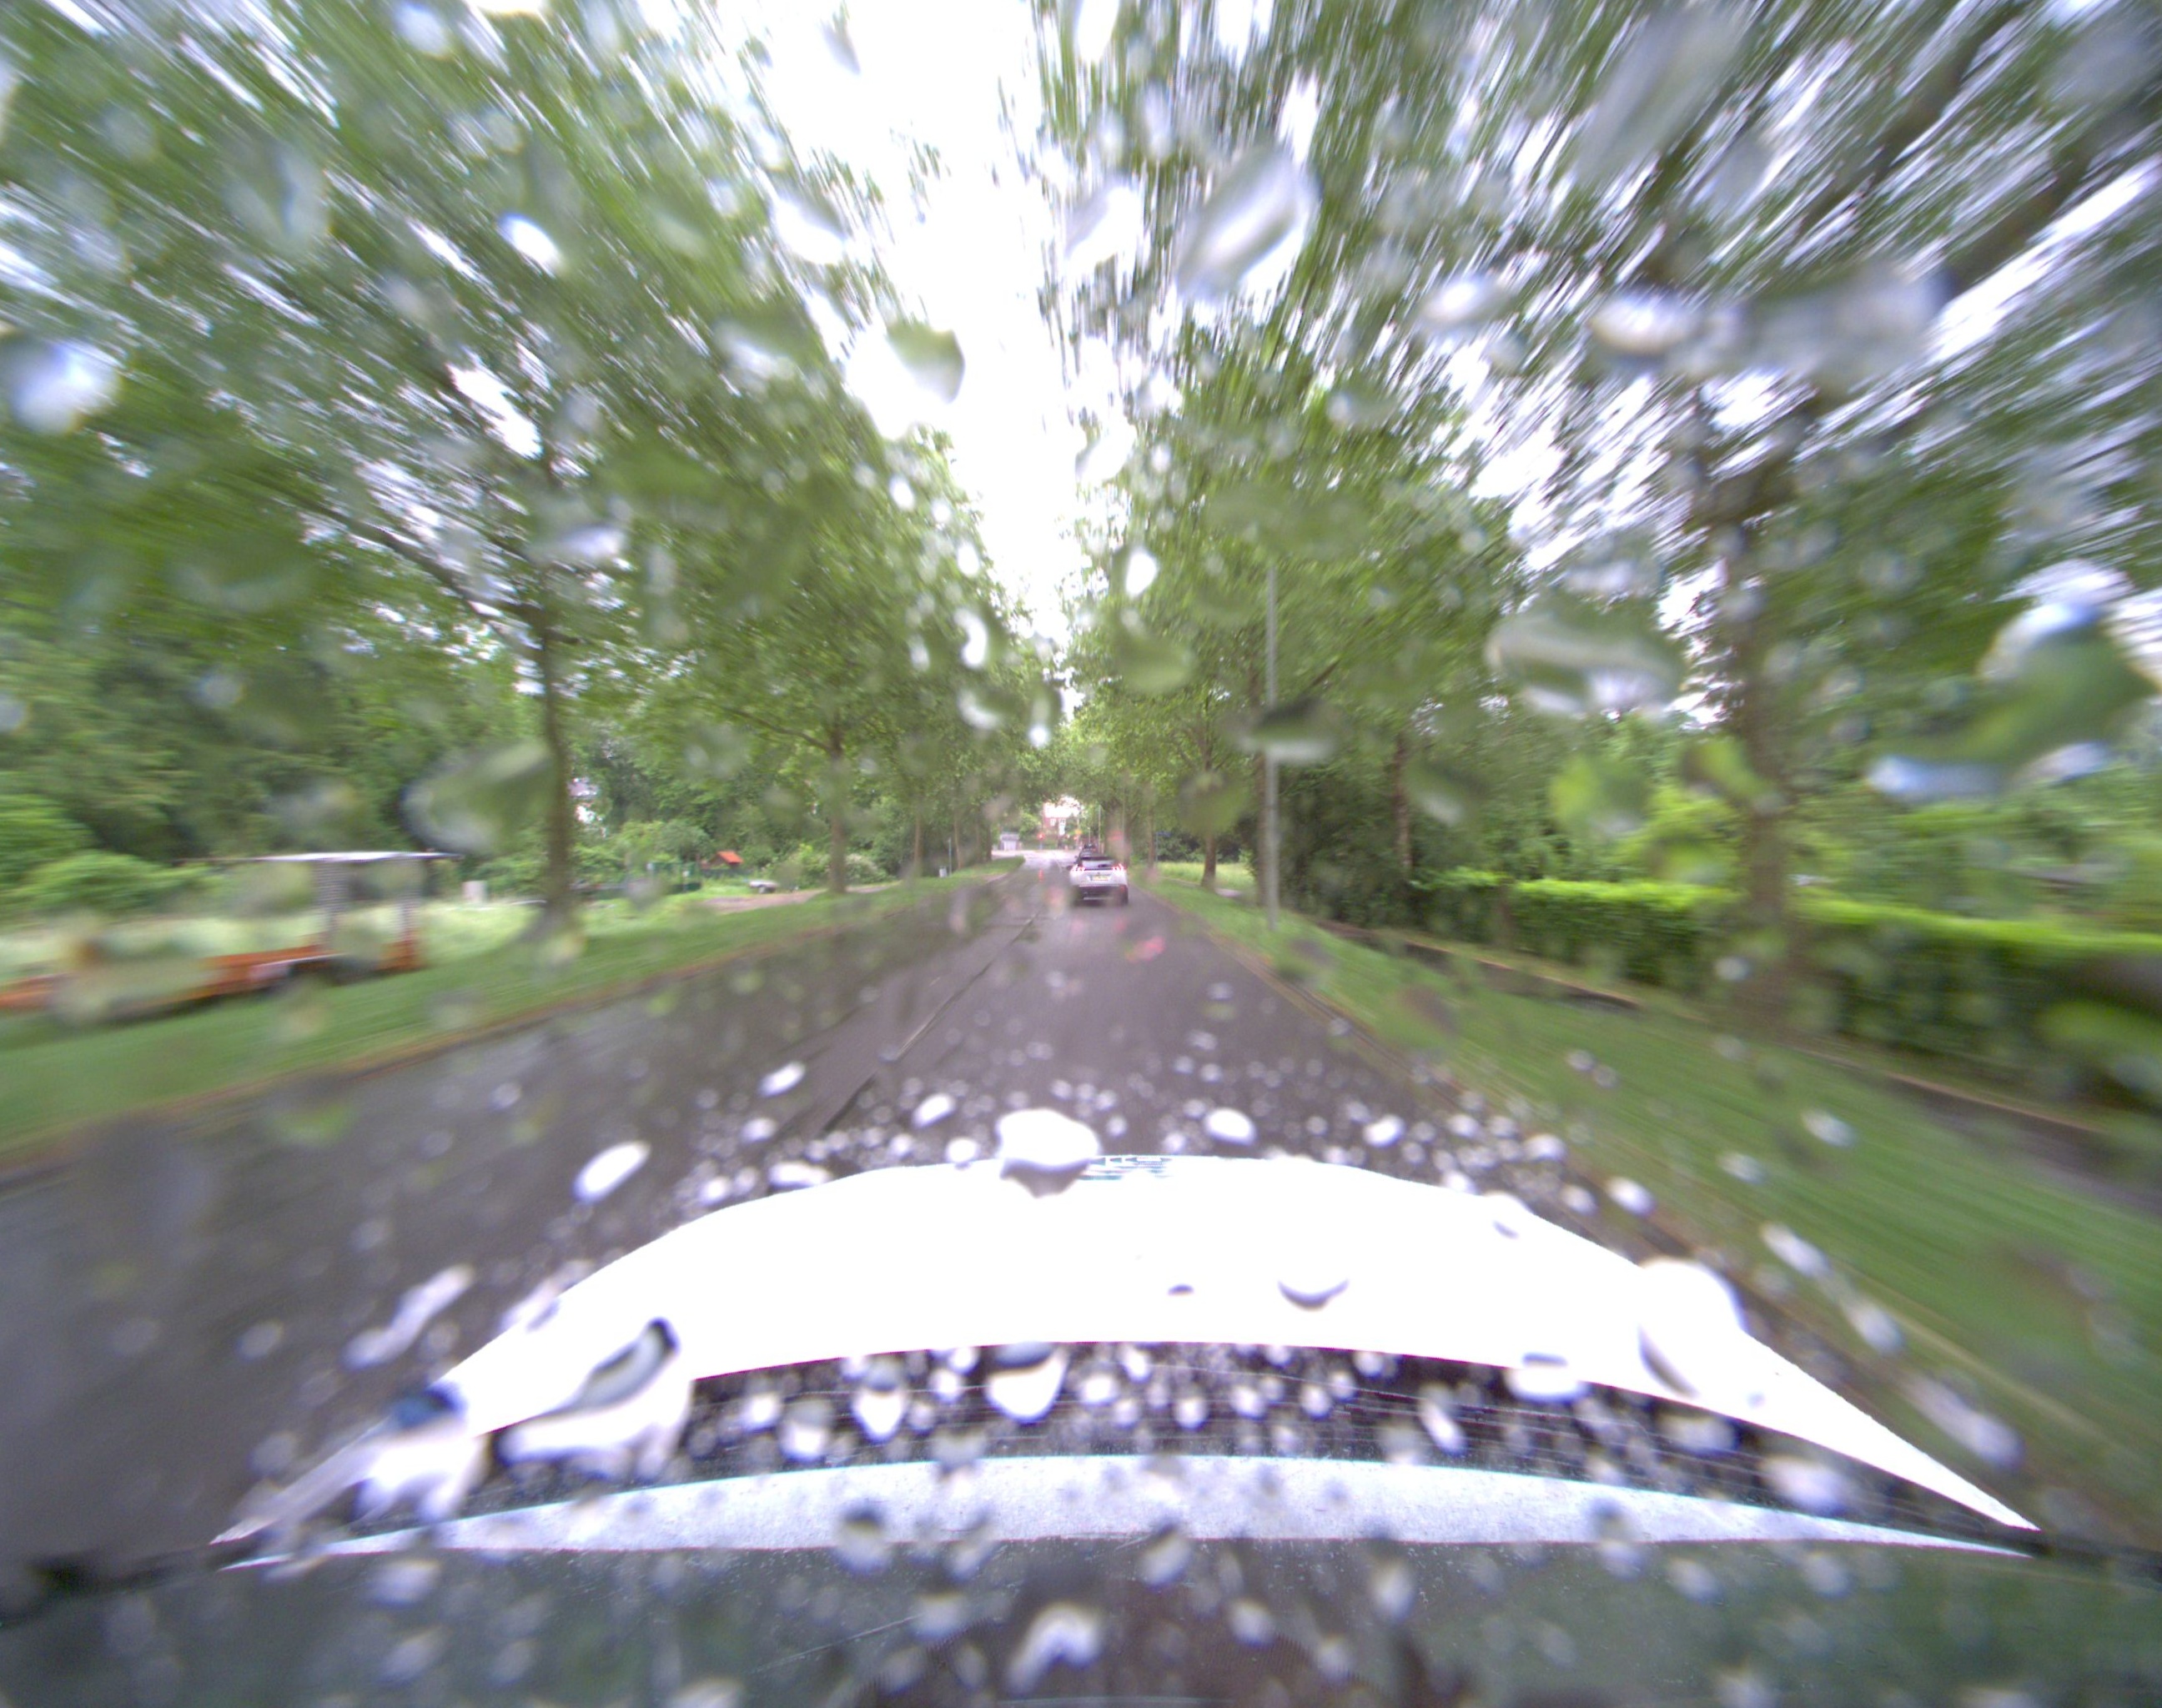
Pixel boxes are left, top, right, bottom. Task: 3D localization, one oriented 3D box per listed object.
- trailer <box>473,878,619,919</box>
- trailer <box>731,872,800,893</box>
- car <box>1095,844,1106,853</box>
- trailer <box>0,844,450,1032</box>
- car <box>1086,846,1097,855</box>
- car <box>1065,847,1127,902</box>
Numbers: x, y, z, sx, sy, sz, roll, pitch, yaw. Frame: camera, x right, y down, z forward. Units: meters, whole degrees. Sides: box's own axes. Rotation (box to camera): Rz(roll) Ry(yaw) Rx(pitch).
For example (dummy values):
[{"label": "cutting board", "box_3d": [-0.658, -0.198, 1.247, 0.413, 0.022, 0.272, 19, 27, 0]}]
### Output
[{"label": "trailer", "box_3d": [-20.571, 1.680, 31.505, 4.228, 1.376, 1.996, -1, 0, -6]}, {"label": "trailer", "box_3d": [-19.363, 1.732, 50.089, 3.548, 1.178, 1.819, -1, 0, -6]}, {"label": "car", "box_3d": [3.357, -0.970, 140.409, 1.819, 1.596, 3.657, 0, 0, 4]}, {"label": "trailer", "box_3d": [-14.133, 1.146, 13.856, 2.475, 2.567, 5.334, 0, 0, 2]}, {"label": "car", "box_3d": [1.898, -0.644, 150.130, 1.819, 1.596, 3.657, 0, 0, 4]}, {"label": "car", "box_3d": [0.517, 0.571, 25.526, 1.787, 1.578, 3.846, 0, 0, 2]}]
